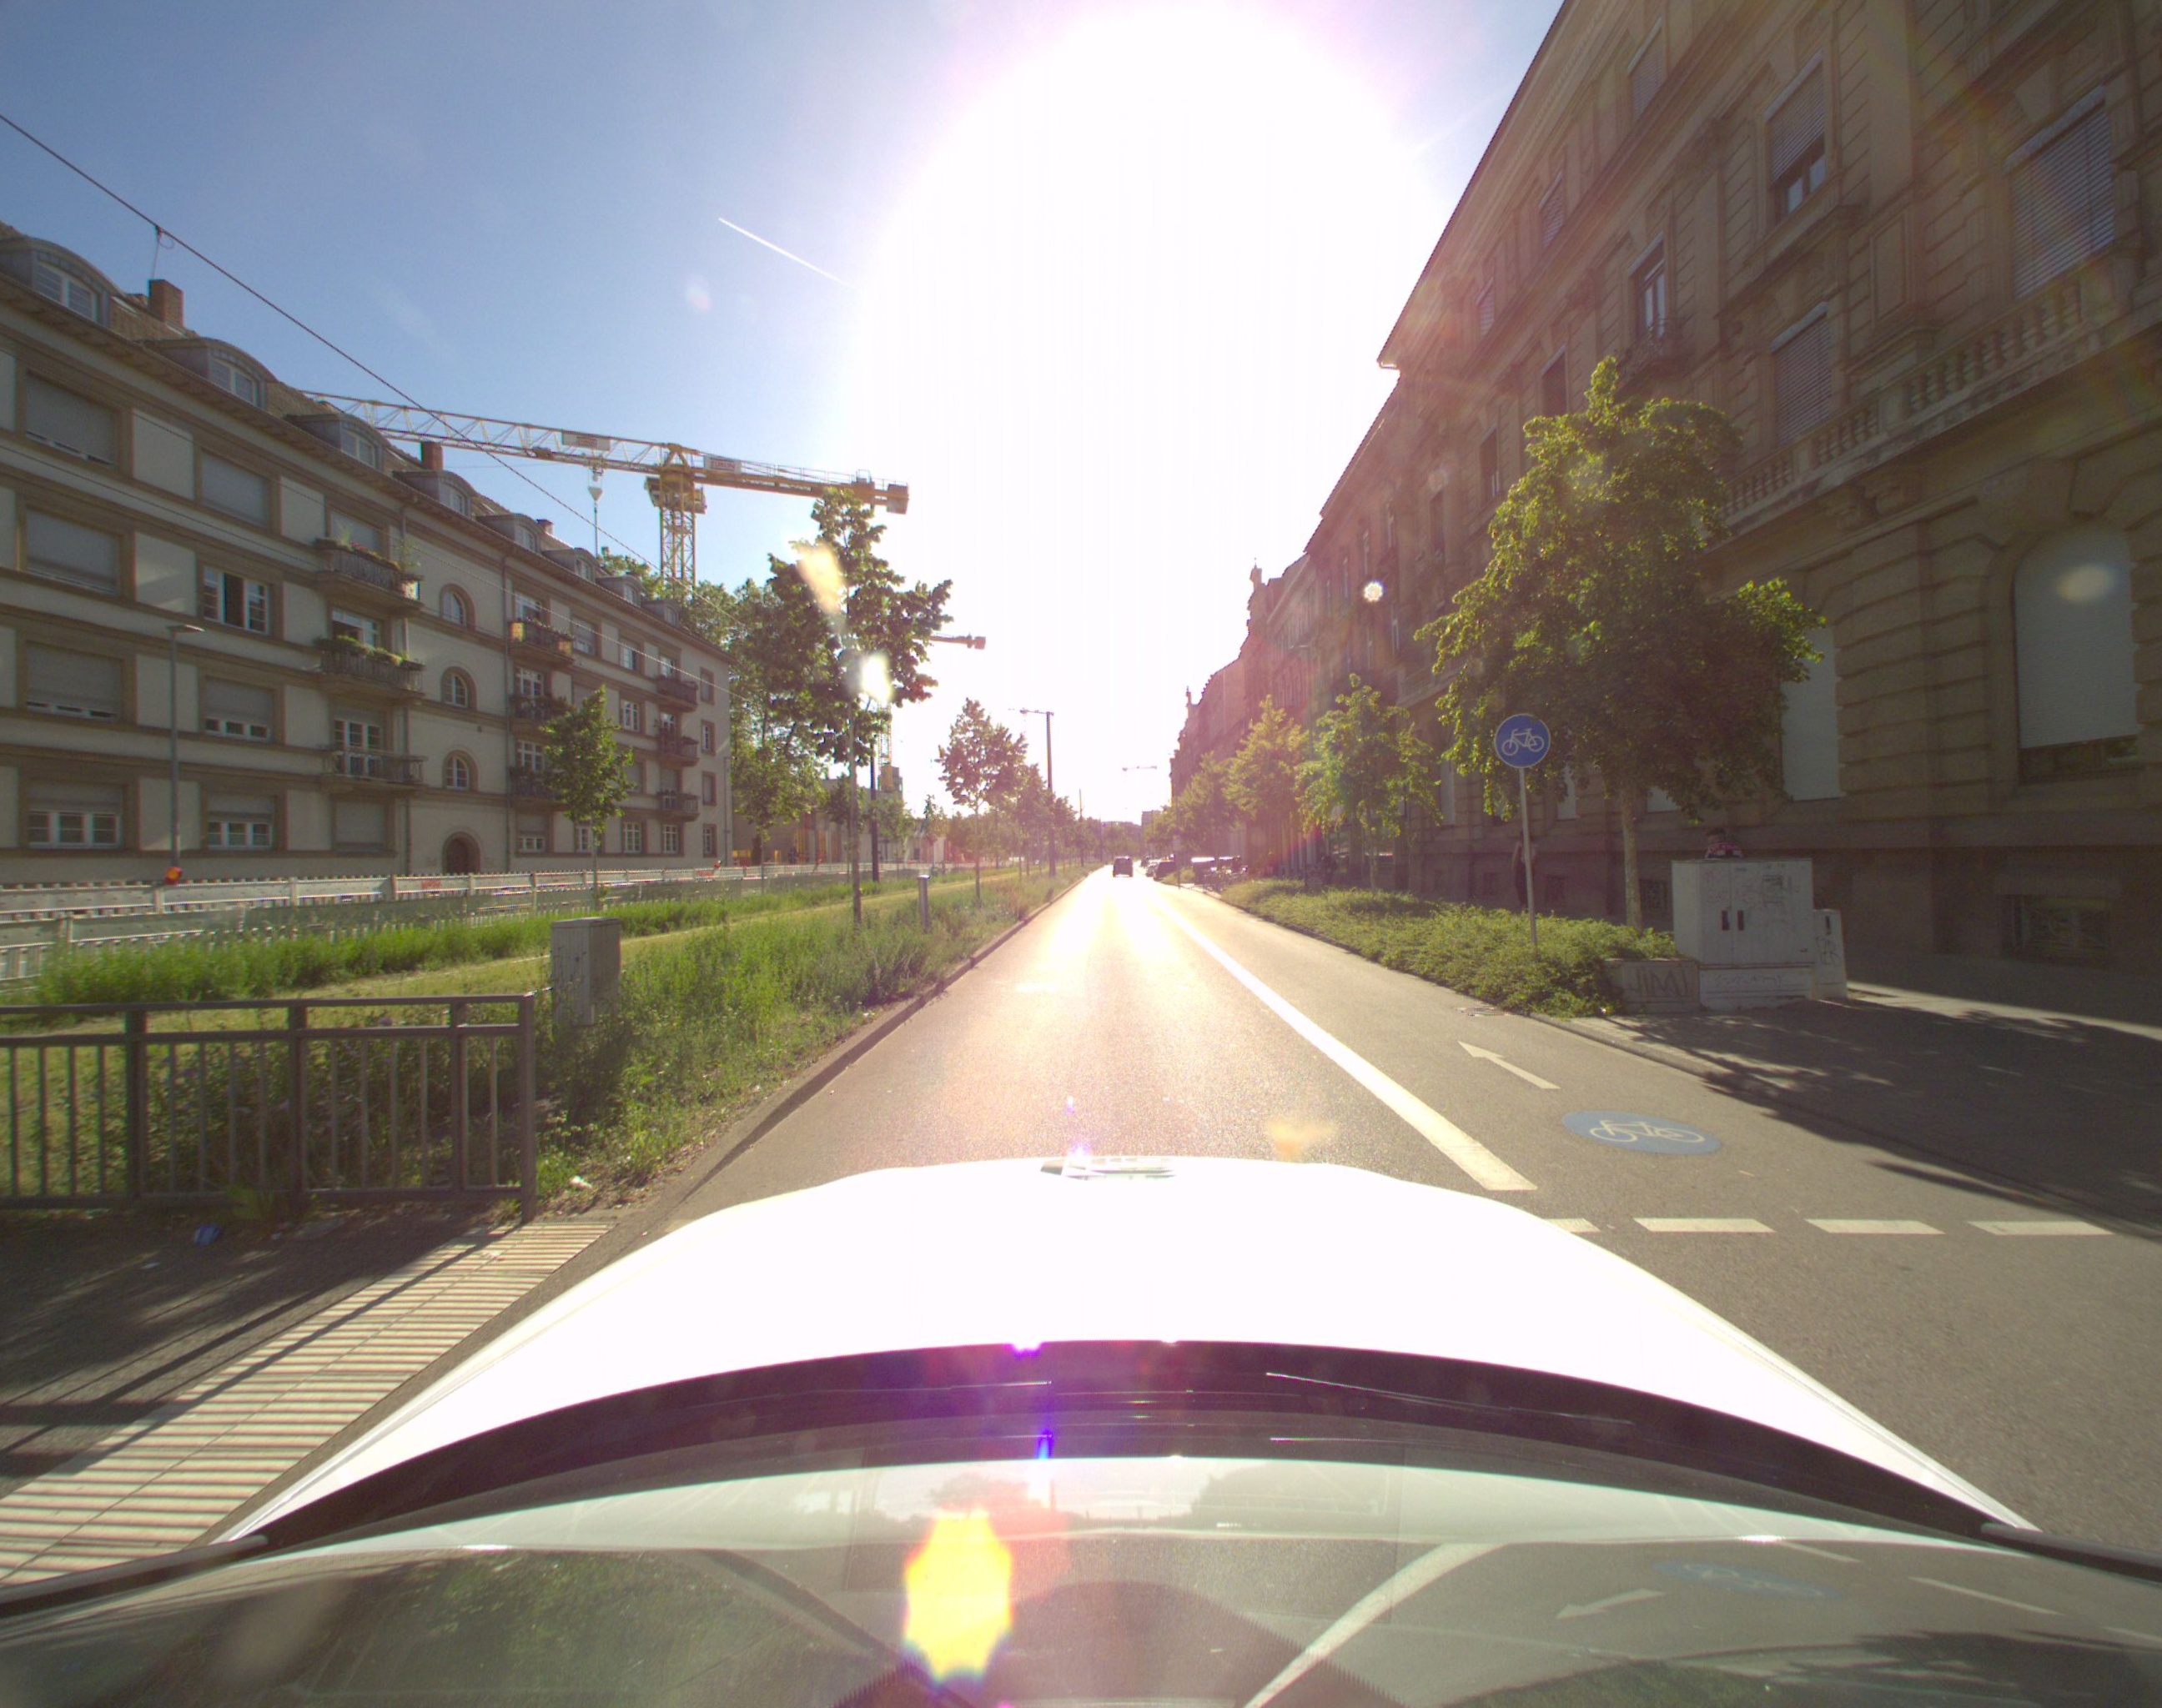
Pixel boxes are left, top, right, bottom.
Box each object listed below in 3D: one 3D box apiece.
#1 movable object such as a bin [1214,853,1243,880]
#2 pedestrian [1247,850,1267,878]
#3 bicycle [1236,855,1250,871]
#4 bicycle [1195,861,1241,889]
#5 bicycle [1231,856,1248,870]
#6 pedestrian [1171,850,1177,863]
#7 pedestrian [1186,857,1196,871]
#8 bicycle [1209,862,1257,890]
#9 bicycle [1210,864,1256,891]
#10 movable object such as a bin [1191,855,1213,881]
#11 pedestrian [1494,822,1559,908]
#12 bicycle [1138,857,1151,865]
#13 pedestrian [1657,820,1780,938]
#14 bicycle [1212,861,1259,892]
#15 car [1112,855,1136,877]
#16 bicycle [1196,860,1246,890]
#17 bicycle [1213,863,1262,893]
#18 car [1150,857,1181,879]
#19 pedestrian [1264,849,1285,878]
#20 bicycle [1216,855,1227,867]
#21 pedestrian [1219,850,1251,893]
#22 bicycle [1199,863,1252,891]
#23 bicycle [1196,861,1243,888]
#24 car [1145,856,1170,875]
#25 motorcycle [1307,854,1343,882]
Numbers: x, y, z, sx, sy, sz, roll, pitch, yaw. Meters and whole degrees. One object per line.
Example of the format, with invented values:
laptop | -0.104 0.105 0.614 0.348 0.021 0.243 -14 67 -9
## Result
movable object such as a bin | 8.796 0.772 48.697 1.368 1.495 1.750 -4 -1 3
pedestrian | 10.376 0.563 48.029 0.947 1.566 1.080 -2 1 1
bicycle | 12.660 0.726 63.582 0.745 1.201 1.802 -3 -1 2
bicycle | 6.449 0.974 38.325 1.970 1.124 0.481 -5 0 -4
bicycle | 12.954 0.734 66.642 0.873 1.105 2.181 -4 0 -1
pedestrian | 14.749 0.465 129.323 0.814 2.014 1.046 0 -3 2
pedestrian | 13.119 1.178 97.059 0.992 1.731 0.866 0 -1 1
bicycle | 6.583 0.960 35.318 1.971 1.108 0.435 -3 -1 -1
bicycle | 6.528 0.989 34.975 1.811 1.056 0.571 -3 -1 -4
movable object such as a bin | 7.200 0.838 48.563 1.264 1.463 1.647 0 2 7
pedestrian | 10.434 0.259 19.116 0.885 1.920 1.100 -3 -1 7
bicycle | 10.229 1.124 131.502 1.875 1.233 0.499 -4 -1 -4
pedestrian | 9.881 0.378 12.676 0.965 1.692 1.115 -3 -1 3
bicycle | 6.421 0.930 33.859 1.860 1.179 0.373 -2 -1 -1
car | 3.899 1.096 74.825 1.987 2.014 3.999 0 -1 0
bicycle | 6.349 0.934 36.835 2.148 1.154 0.428 -5 0 -12
bicycle | 6.431 0.983 33.503 1.887 1.108 0.517 -3 -1 -4
car | 6.350 1.048 61.471 1.760 1.477 4.447 -4 -1 -1
pedestrian | 11.373 0.547 47.947 0.967 1.639 0.993 -3 0 2
bicycle | 13.448 0.621 77.774 0.718 1.090 2.200 -3 0 2
pedestrian | 6.644 0.757 35.109 0.905 1.735 0.841 -5 -1 -30
bicycle | 6.478 1.006 36.486 2.287 1.102 0.484 -3 -1 -13
bicycle | 6.440 0.966 37.917 2.040 1.107 0.610 -4 -1 -4
car | 6.964 1.025 74.174 1.944 1.495 5.108 -3 0 2
motorcycle | 11.383 0.639 38.142 0.862 1.266 2.983 0 -1 2
